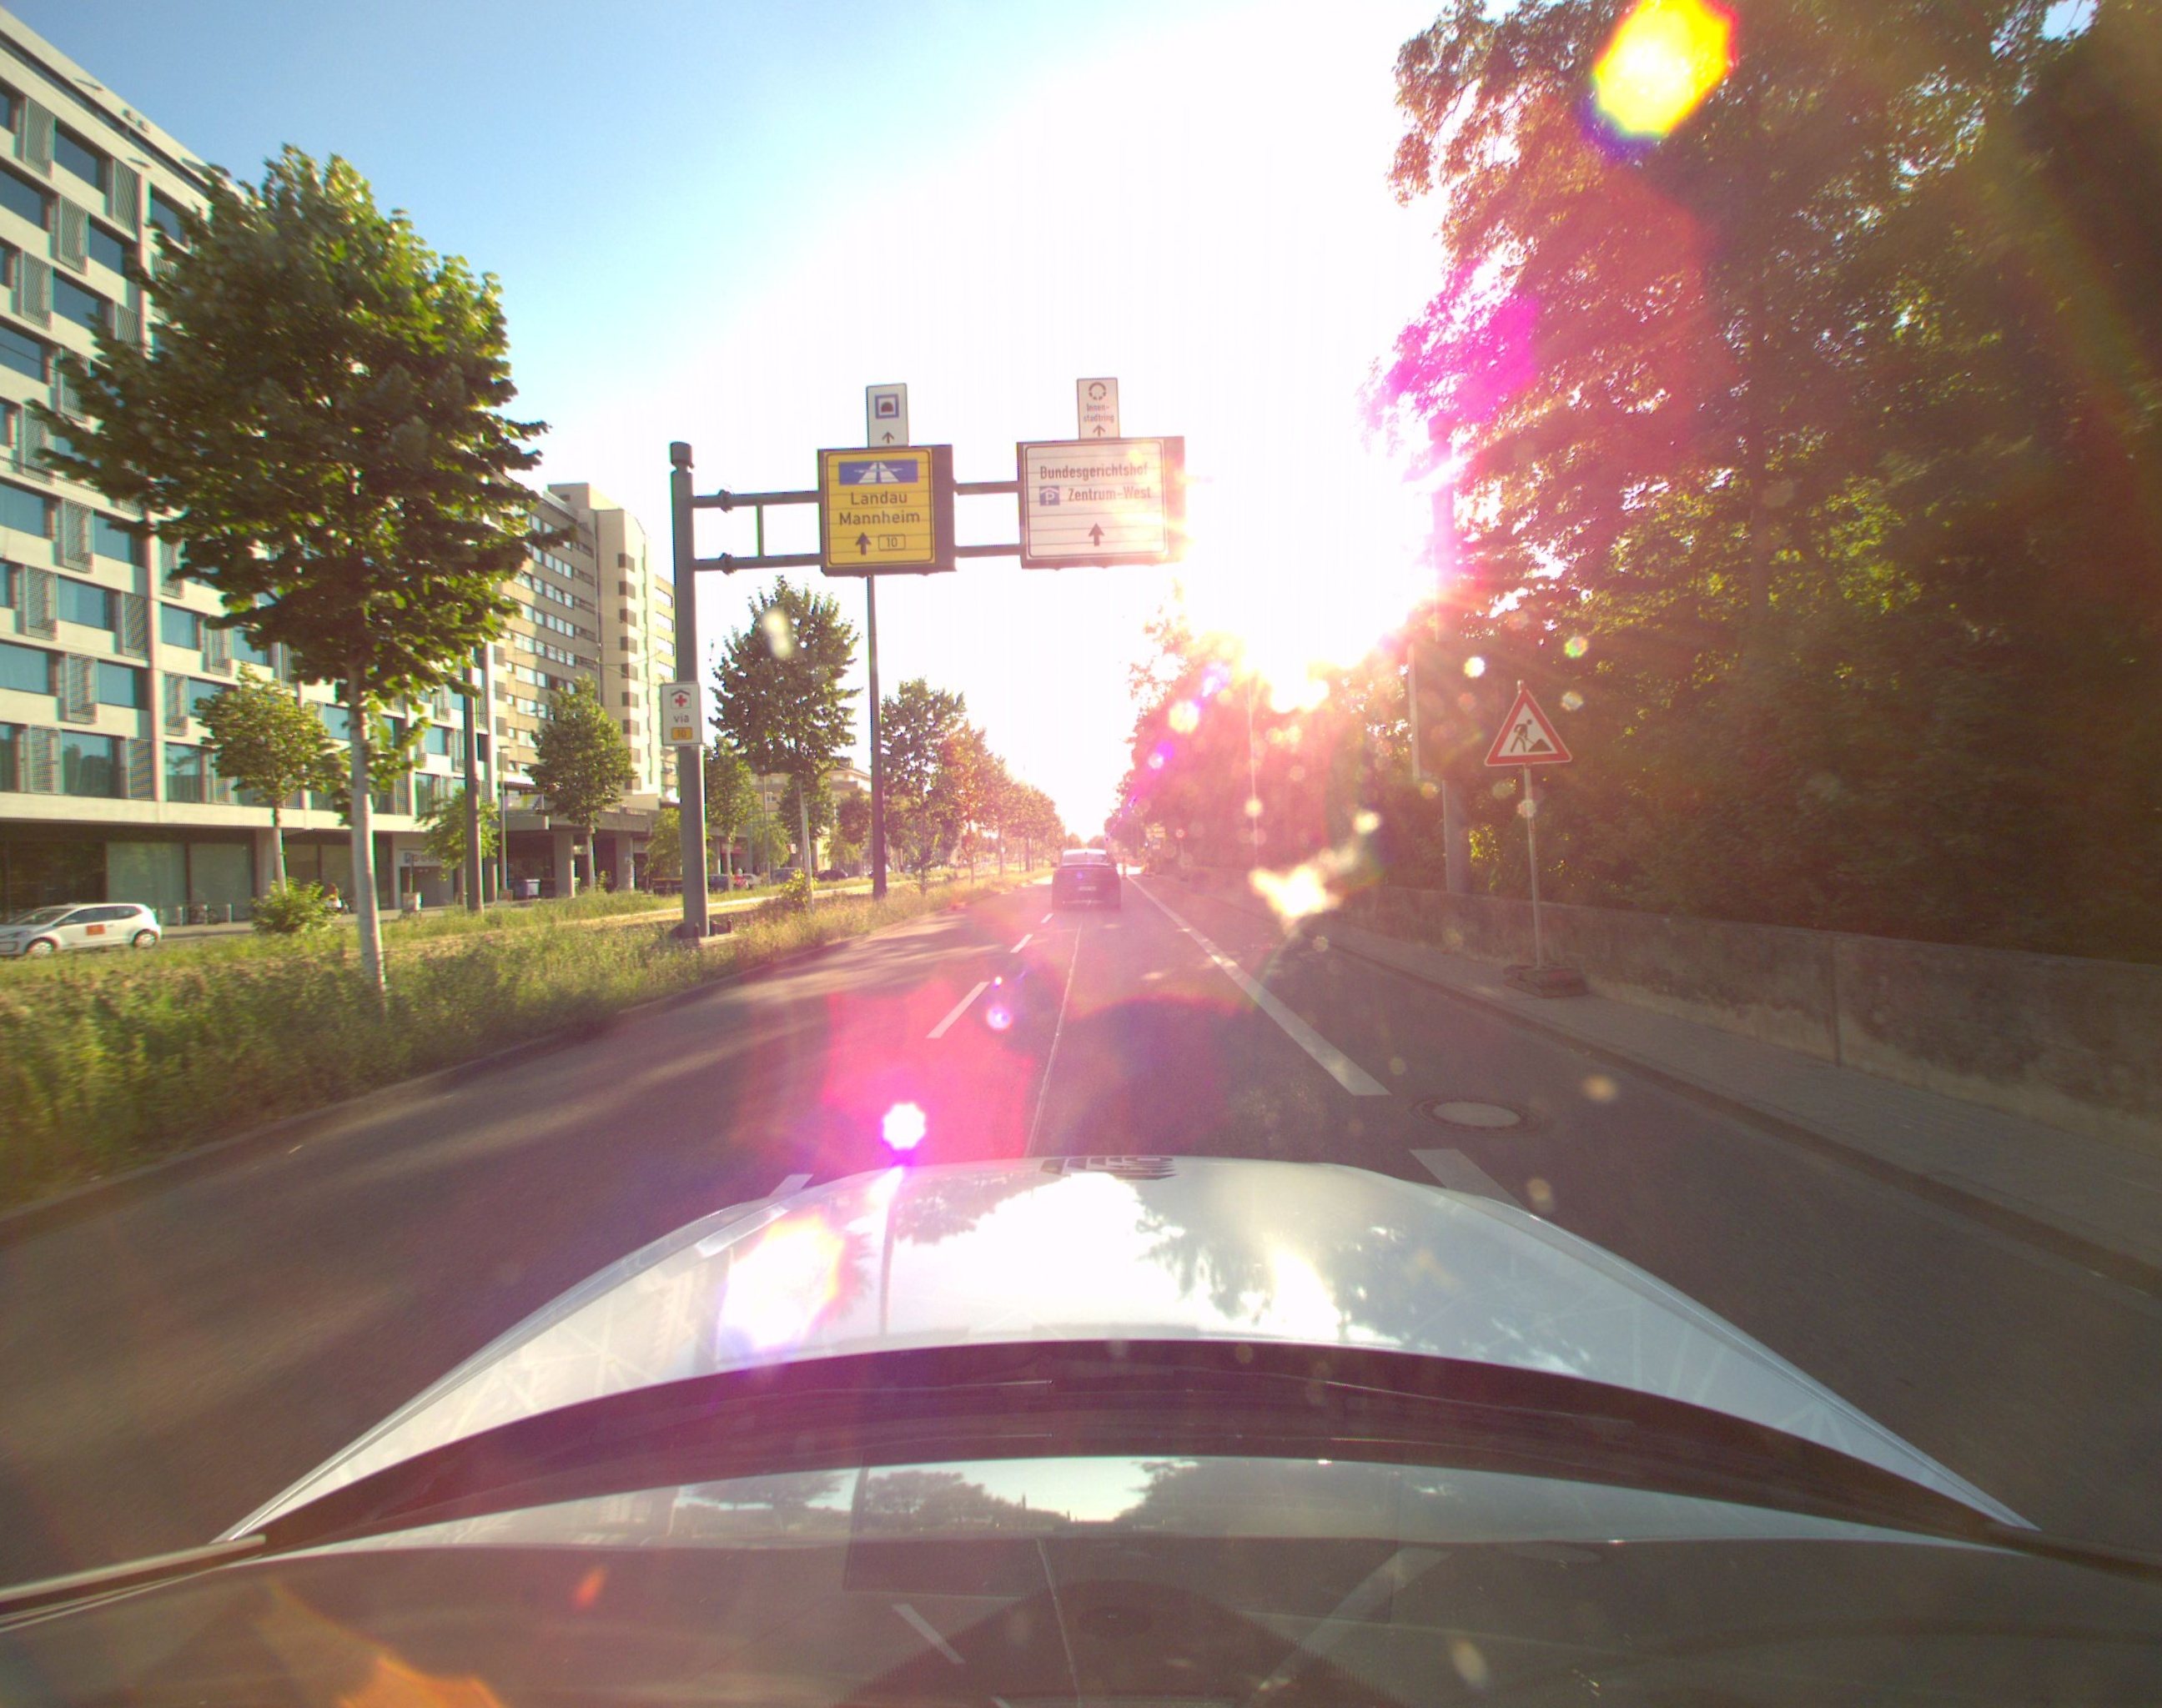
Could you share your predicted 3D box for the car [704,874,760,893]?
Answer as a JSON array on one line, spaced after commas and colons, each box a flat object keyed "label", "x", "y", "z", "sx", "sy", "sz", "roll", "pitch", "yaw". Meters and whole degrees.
[{"label": "car", "x": -29.859, "y": 2.474, "z": 69.747, "sx": 1.764, "sy": 1.453, "sz": 4.024, "roll": -1, "pitch": 0, "yaw": 43}]

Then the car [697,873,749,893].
[{"label": "car", "x": -29.513, "y": 2.389, "z": 67.204, "sx": 3.644, "sy": 1.523, "sz": 1.602, "roll": 0, "pitch": -1, "yaw": -39}]

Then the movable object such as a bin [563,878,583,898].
[{"label": "movable object such as a bin", "x": -36.222, "y": 2.395, "z": 58.076, "sx": 0.818, "sy": 1.371, "sz": 0.868, "roll": -2, "pitch": 0, "yaw": 1}]

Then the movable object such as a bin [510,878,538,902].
[{"label": "movable object such as a bin", "x": -36.650, "y": 2.361, "z": 53.642, "sx": 0.797, "sy": 1.440, "sz": 1.403, "roll": -2, "pitch": 0, "yaw": 2}]

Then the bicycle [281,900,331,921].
[{"label": "bicycle", "x": -37.082, "y": 2.715, "z": 38.974, "sx": 1.799, "sy": 0.905, "sz": 0.511, "roll": -2, "pitch": -1, "yaw": -2}]

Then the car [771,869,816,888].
[{"label": "car", "x": -28.534, "y": 2.411, "z": 80.791, "sx": 3.777, "sy": 1.829, "sz": 1.804, "roll": -1, "pitch": 0, "yaw": -39}]

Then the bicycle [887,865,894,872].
[{"label": "bicycle", "x": -25.994, "y": 1.966, "z": 111.130, "sx": 0.605, "sy": 0.963, "sz": 1.716, "roll": -1, "pitch": 0, "yaw": -1}]

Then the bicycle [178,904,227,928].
[{"label": "bicycle", "x": -36.955, "y": 2.600, "z": 34.273, "sx": 1.792, "sy": 0.905, "sz": 0.513, "roll": -2, "pitch": -1, "yaw": 11}]

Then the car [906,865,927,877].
[{"label": "car", "x": -22.015, "y": 2.272, "z": 109.145, "sx": 1.878, "sy": 1.514, "sz": 4.003, "roll": -1, "pitch": 0, "yaw": 3}]

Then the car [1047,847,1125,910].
[{"label": "car", "x": 0.058, "y": 0.691, "z": 24.843, "sx": 1.990, "sy": 1.734, "sz": 3.993, "roll": -1, "pitch": 0, "yaw": -5}]

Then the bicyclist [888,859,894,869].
[{"label": "bicyclist", "x": -25.972, "y": 1.324, "z": 111.209, "sx": 0.590, "sy": 1.355, "sz": 0.759, "roll": -1, "pitch": 0, "yaw": -2}]

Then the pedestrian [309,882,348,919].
[{"label": "pedestrian", "x": -35.350, "y": 2.180, "z": 38.261, "sx": 0.840, "sy": 1.653, "sz": 0.971, "roll": -2, "pitch": 0, "yaw": 3}]

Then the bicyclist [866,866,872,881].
[{"label": "bicyclist", "x": -25.557, "y": 2.335, "z": 98.094, "sx": 0.538, "sy": 1.788, "sz": 0.857, "roll": -1, "pitch": -1, "yaw": -1}]

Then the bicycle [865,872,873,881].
[{"label": "bicycle", "x": -25.566, "y": 2.744, "z": 98.150, "sx": 0.542, "sy": 0.993, "sz": 1.711, "roll": -1, "pitch": 0, "yaw": -1}]

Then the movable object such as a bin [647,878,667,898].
[{"label": "movable object such as a bin", "x": -30.241, "y": 2.419, "z": 58.080, "sx": 0.851, "sy": 1.358, "sz": 0.944, "roll": -2, "pitch": -1, "yaw": 16}]

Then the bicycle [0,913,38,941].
[{"label": "bicycle", "x": -37.638, "y": 2.561, "z": 28.368, "sx": 1.801, "sy": 0.905, "sz": 0.511, "roll": -2, "pitch": -1, "yaw": -5}]

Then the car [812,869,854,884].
[{"label": "car", "x": -27.649, "y": 2.510, "z": 90.714, "sx": 4.021, "sy": 1.563, "sz": 1.976, "roll": -1, "pitch": 0, "yaw": -41}]

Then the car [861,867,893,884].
[{"label": "car", "x": -21.894, "y": 2.281, "z": 87.708, "sx": 1.878, "sy": 1.689, "sz": 5.093, "roll": -1, "pitch": 0, "yaw": 3}]

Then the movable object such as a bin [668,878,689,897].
[{"label": "movable object such as a bin", "x": -28.850, "y": 2.397, "z": 58.380, "sx": 0.851, "sy": 1.280, "sz": 0.944, "roll": -2, "pitch": -1, "yaw": 16}]

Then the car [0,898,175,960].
[{"label": "car", "x": -30.221, "y": 2.189, "z": 24.309, "sx": 1.878, "sy": 1.492, "sz": 3.876, "roll": -1, "pitch": 0, "yaw": 3}]

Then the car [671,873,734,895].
[{"label": "car", "x": -29.577, "y": 2.352, "z": 63.699, "sx": 4.116, "sy": 1.601, "sz": 1.730, "roll": 1, "pitch": 0, "yaw": -40}]
